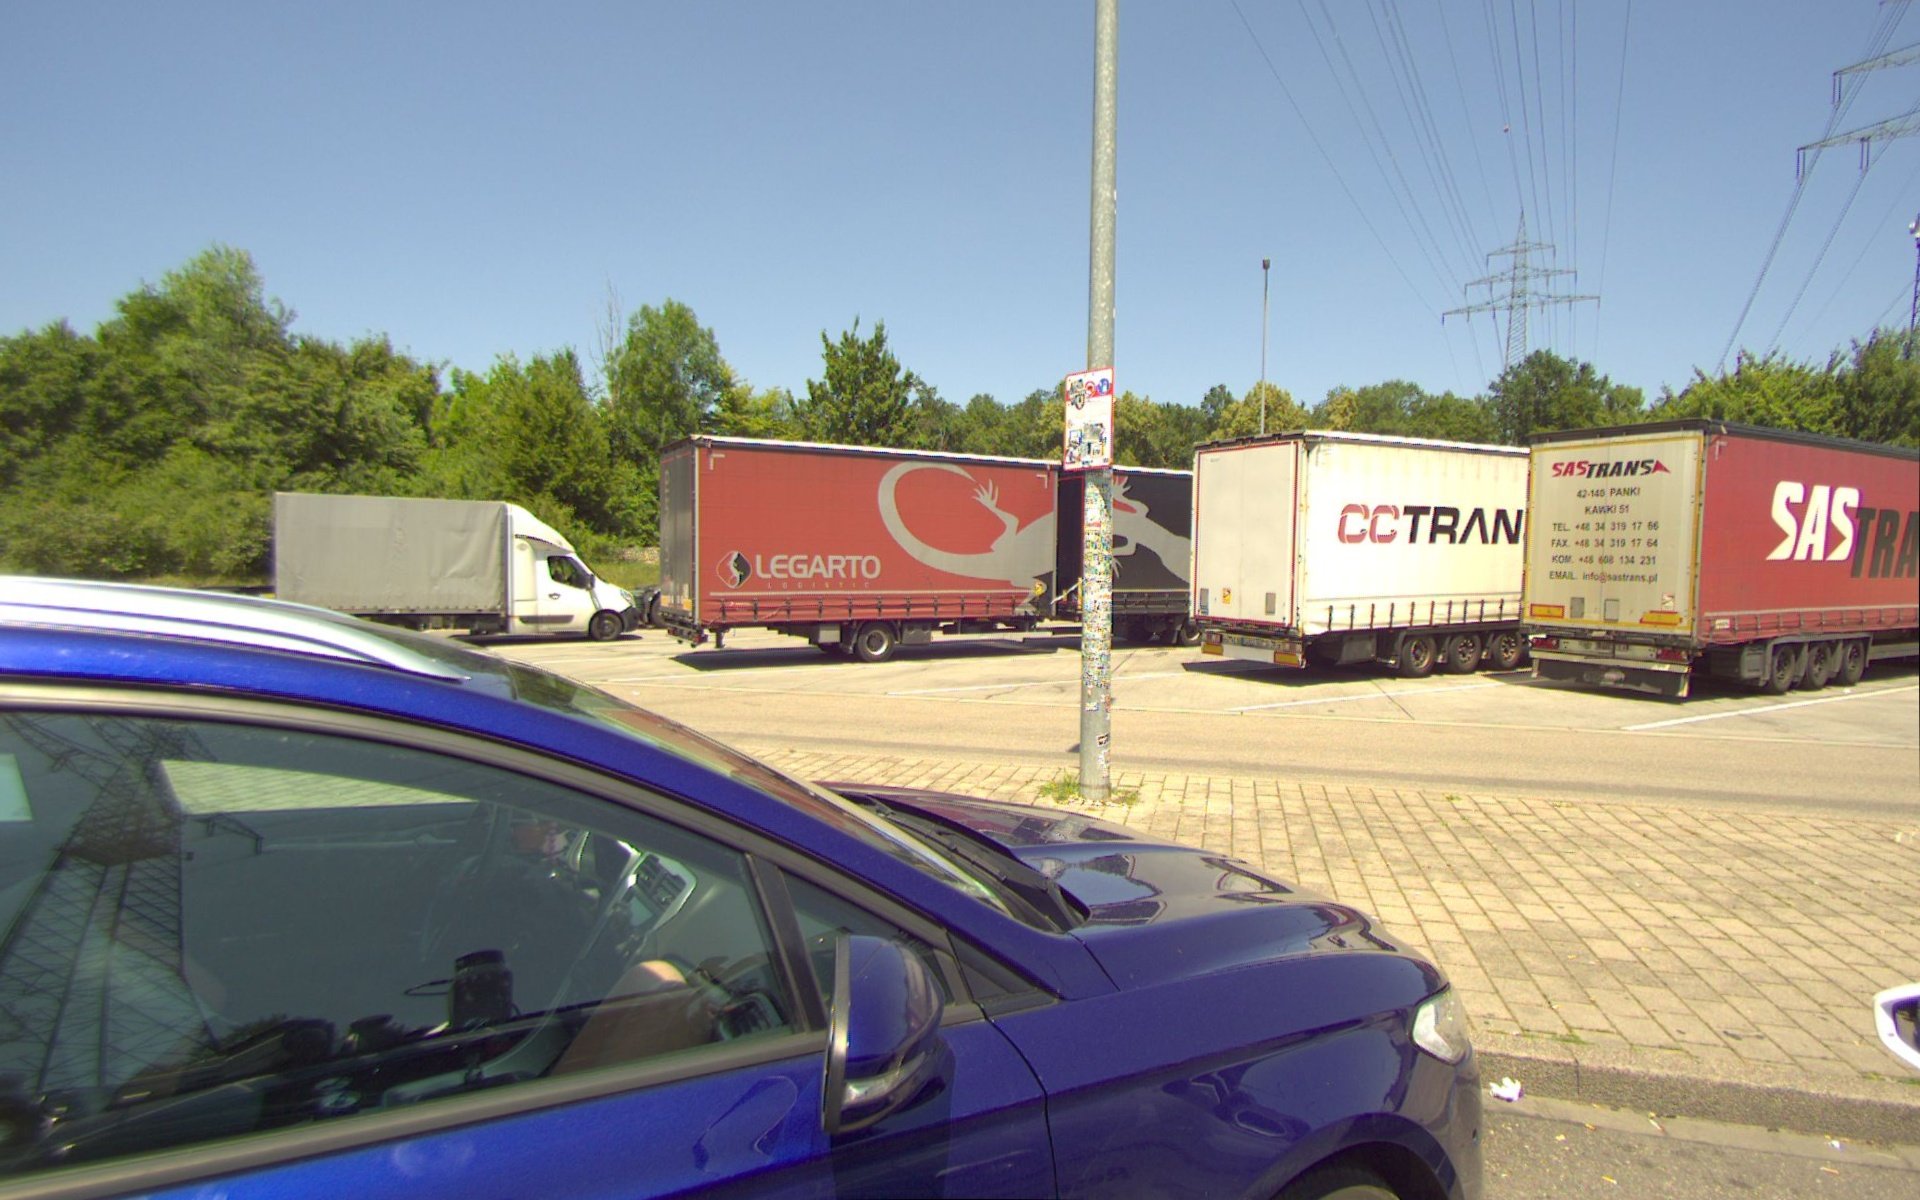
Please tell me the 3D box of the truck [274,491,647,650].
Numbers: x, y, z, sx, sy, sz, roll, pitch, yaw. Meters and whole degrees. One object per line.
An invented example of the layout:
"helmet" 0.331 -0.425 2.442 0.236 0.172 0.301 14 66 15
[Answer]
"truck" -11.117 -0.610 22.904 7.265 3.170 2.352 0 1 -30

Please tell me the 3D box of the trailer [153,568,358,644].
"trailer" -16.508 0.142 23.773 3.856 1.684 1.464 0 1 -30

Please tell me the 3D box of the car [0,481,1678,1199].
"car" -1.013 0.650 1.460 4.419 1.485 1.765 0 1 -32

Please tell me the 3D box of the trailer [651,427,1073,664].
"trailer" -1.794 -0.923 20.305 8.158 4.027 2.651 0 1 -30

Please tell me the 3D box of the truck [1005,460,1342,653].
"truck" 5.398 -0.916 24.577 8.534 4.073 2.624 0 1 -30

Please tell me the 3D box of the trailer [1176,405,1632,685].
"trailer" 8.708 -0.835 19.102 9.614 4.321 2.733 0 1 -29

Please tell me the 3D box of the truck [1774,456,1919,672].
"truck" 20.815 -0.680 21.766 6.749 4.136 2.729 0 1 -31

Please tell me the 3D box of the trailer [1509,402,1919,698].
"trailer" 15.282 -0.676 18.493 13.129 4.112 2.736 0 1 -31
